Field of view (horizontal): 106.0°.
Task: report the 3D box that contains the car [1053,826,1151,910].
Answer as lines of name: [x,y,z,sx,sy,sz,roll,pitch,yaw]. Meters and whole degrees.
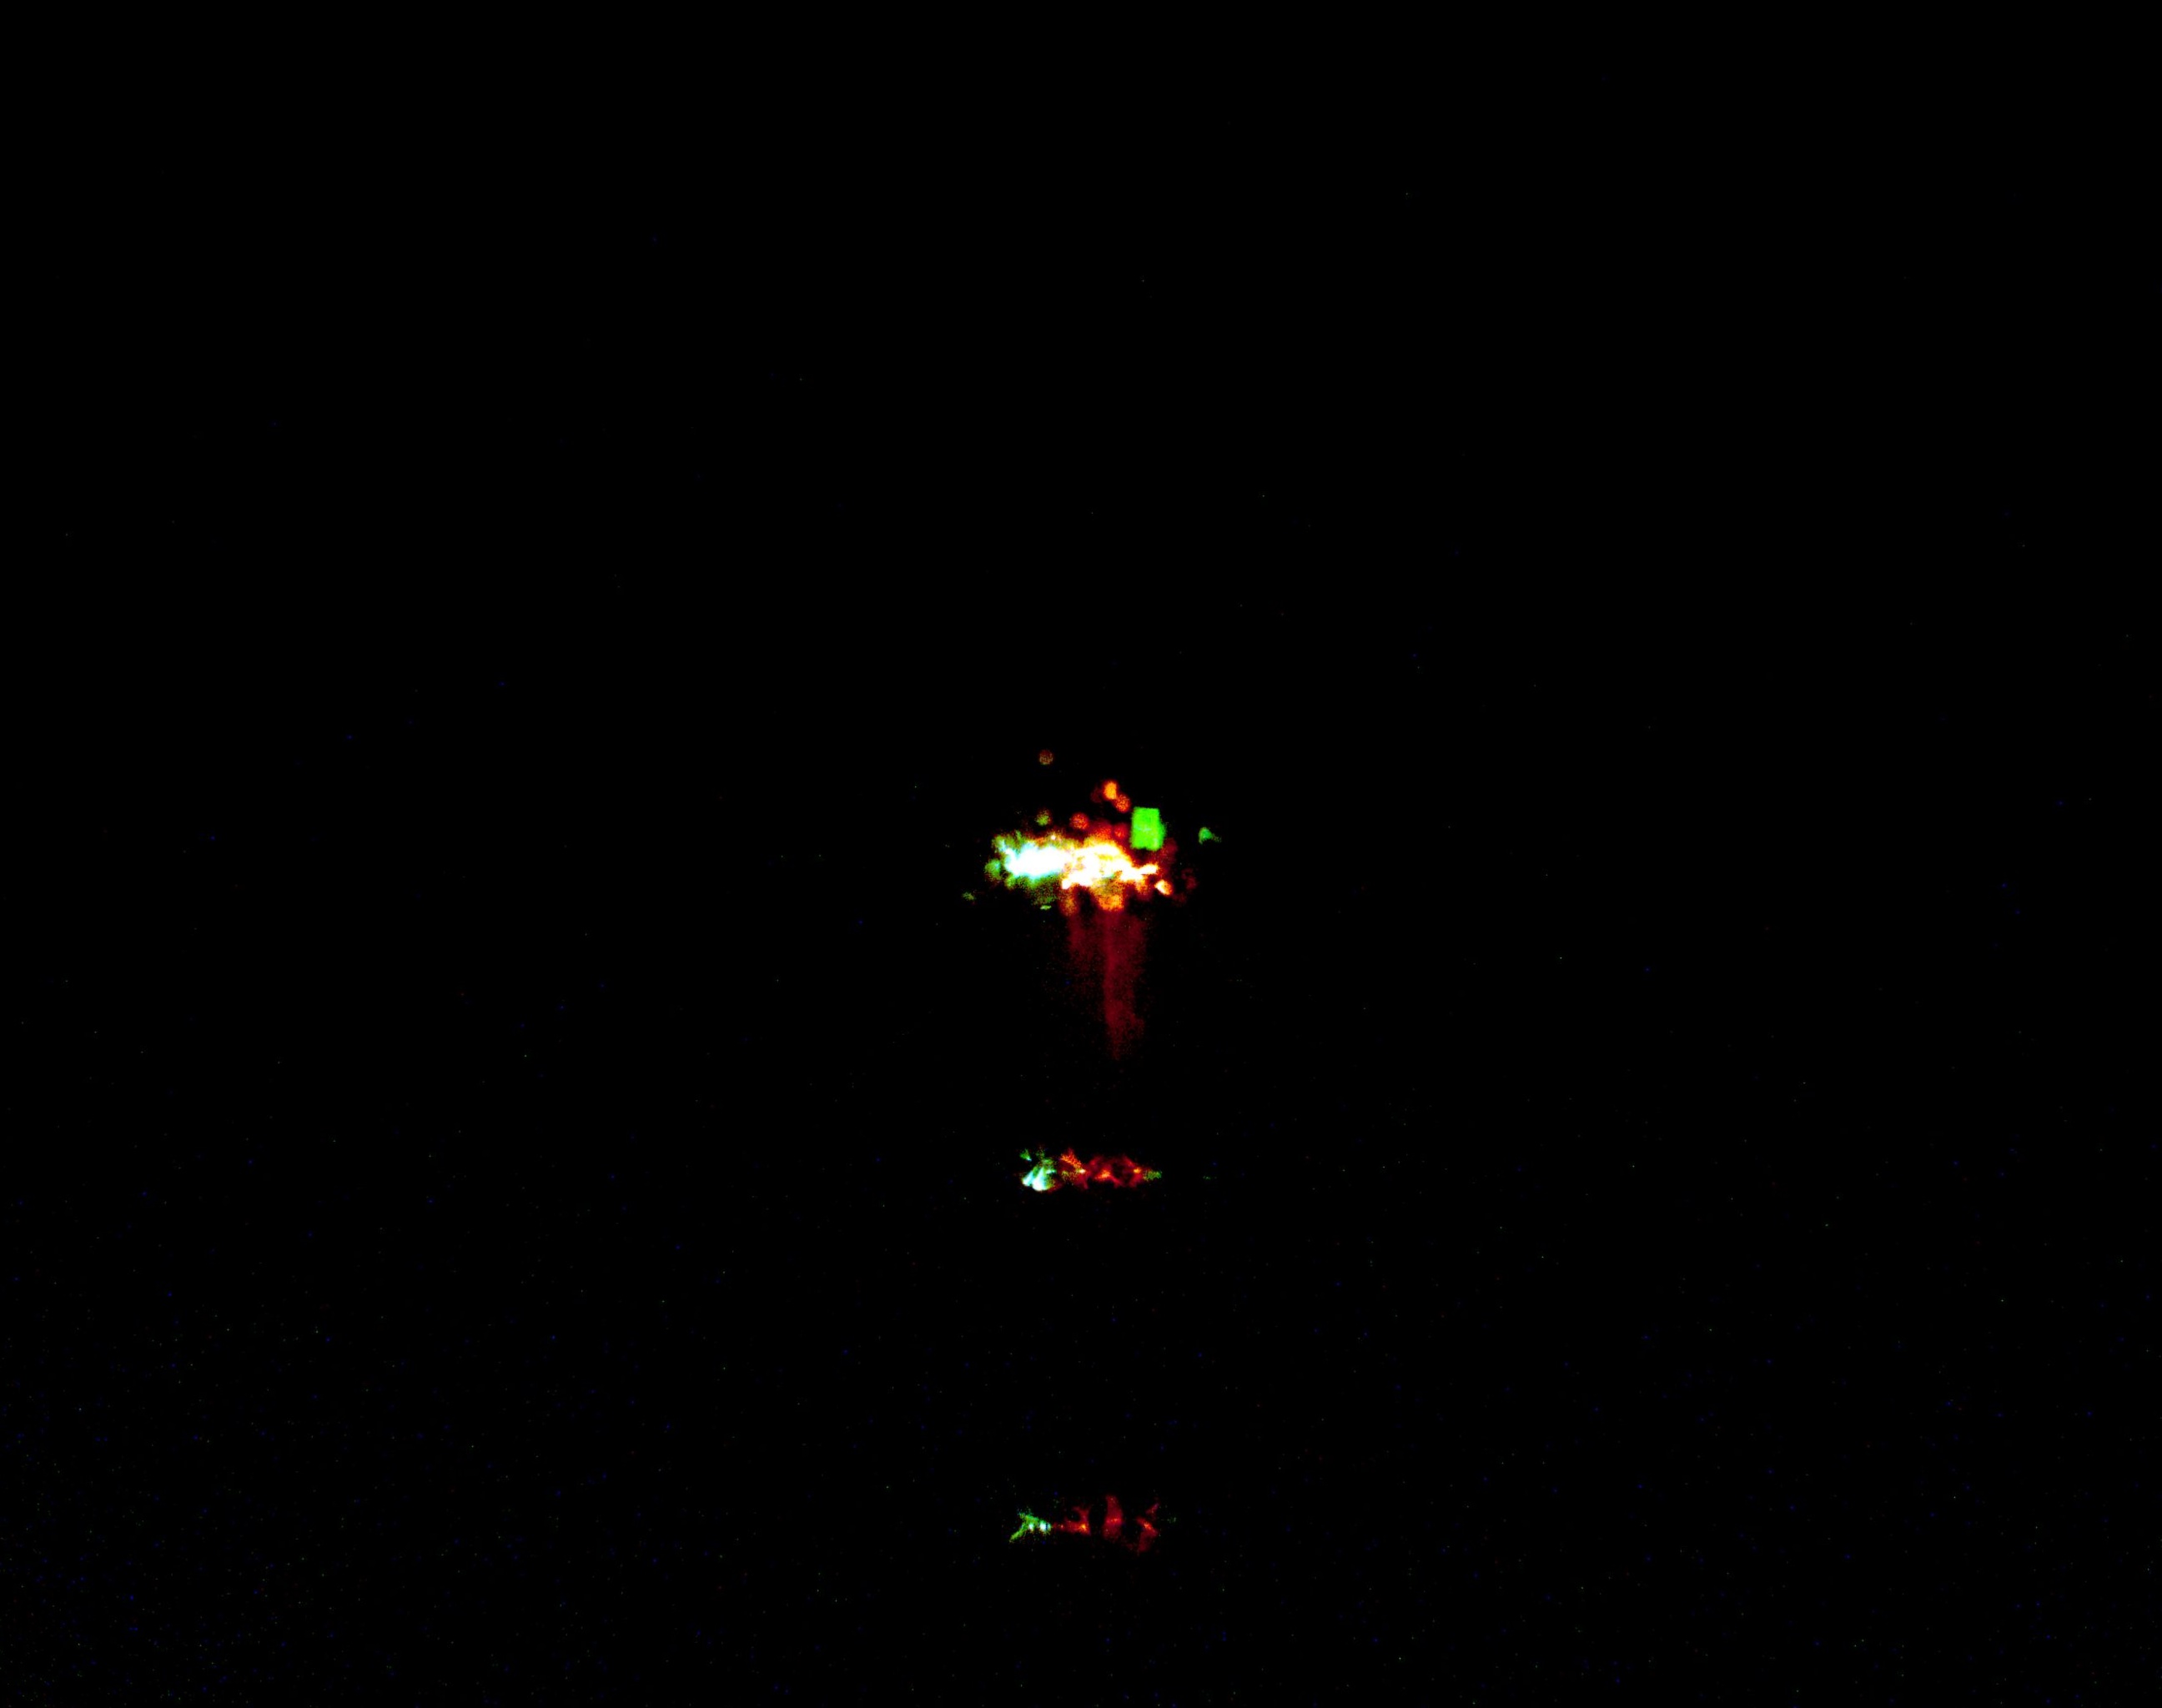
car: [0.545,0.422,25.578,2.707,2.308,6.097,0,-1,-1]

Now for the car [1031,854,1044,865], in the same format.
car: [-6.491,0.788,121.023,1.858,1.544,4.226,-1,1,-2]

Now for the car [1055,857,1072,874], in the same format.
car: [-2.181,1.411,101.728,1.988,1.915,3.998,2,0,-1]
